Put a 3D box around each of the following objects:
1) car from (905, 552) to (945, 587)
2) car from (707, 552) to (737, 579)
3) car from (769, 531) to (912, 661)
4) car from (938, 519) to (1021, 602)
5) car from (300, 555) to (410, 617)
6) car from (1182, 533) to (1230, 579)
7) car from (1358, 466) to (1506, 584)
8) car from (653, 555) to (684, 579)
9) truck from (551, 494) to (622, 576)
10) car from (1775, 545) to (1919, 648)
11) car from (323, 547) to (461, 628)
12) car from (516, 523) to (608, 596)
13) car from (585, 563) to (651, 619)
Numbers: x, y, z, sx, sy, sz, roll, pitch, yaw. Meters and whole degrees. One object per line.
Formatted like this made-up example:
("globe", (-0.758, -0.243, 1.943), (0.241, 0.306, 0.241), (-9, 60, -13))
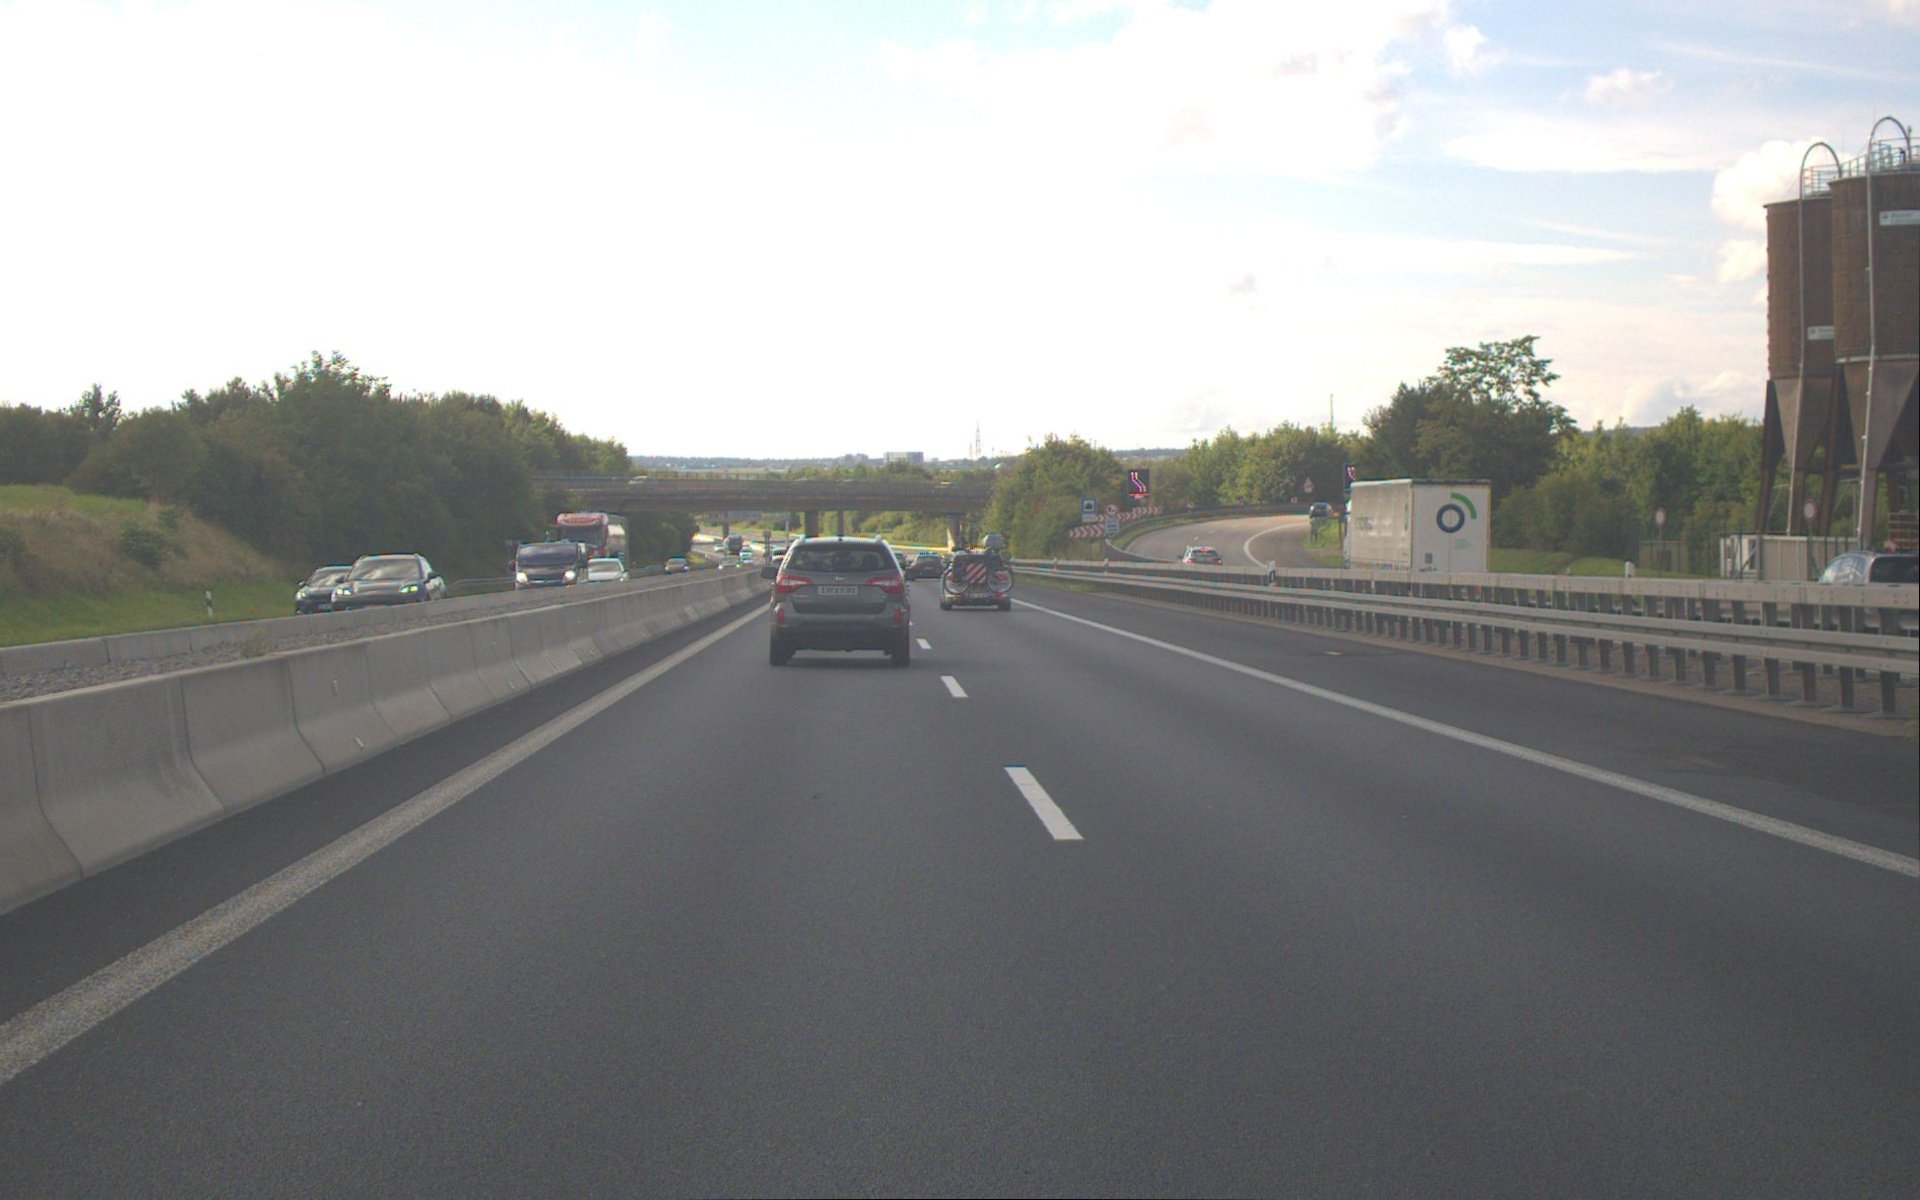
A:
("car", (-1.886, -1.647, 184.000), (1.975, 1.773, 4.120), (-2, 1, -2))
("car", (-17.159, -2.488, 247.822), (1.807, 1.826, 4.397), (-2, 1, -1))
("car", (-1.568, -0.078, 46.119), (1.750, 1.624, 3.609), (-2, 1, 0))
("car", (0.494, -1.043, 90.916), (1.993, 2.073, 4.000), (-2, 1, -1))
("car", (-15.463, -0.382, 88.105), (1.993, 1.473, 4.692), (-2, 1, -1))
("car", (11.232, -2.019, 157.165), (1.994, 2.007, 4.000), (-2, 1, 3))
("car", (15.540, -2.455, 113.729), (3.576, 3.664, 7.549), (-2, 1, -1))
("car", (-21.350, -2.414, 251.733), (1.993, 1.711, 4.000), (-2, 1, -1))
("truck", (-18.514, -3.208, 170.878), (2.737, 3.911, 6.901), (-2, 1, -1))
("car", (16.118, -0.090, 61.457), (1.993, 1.711, 4.000), (-2, 1, -1))
("car", (-11.796, -0.290, 71.726), (1.993, 1.567, 5.365), (-2, 1, -1))
("car", (-11.504, -1.179, 99.647), (1.993, 2.007, 5.841), (-2, 1, -1))
("car", (-12.615, -0.349, 127.021), (1.993, 2.007, 4.678), (-1, 1, -1))
